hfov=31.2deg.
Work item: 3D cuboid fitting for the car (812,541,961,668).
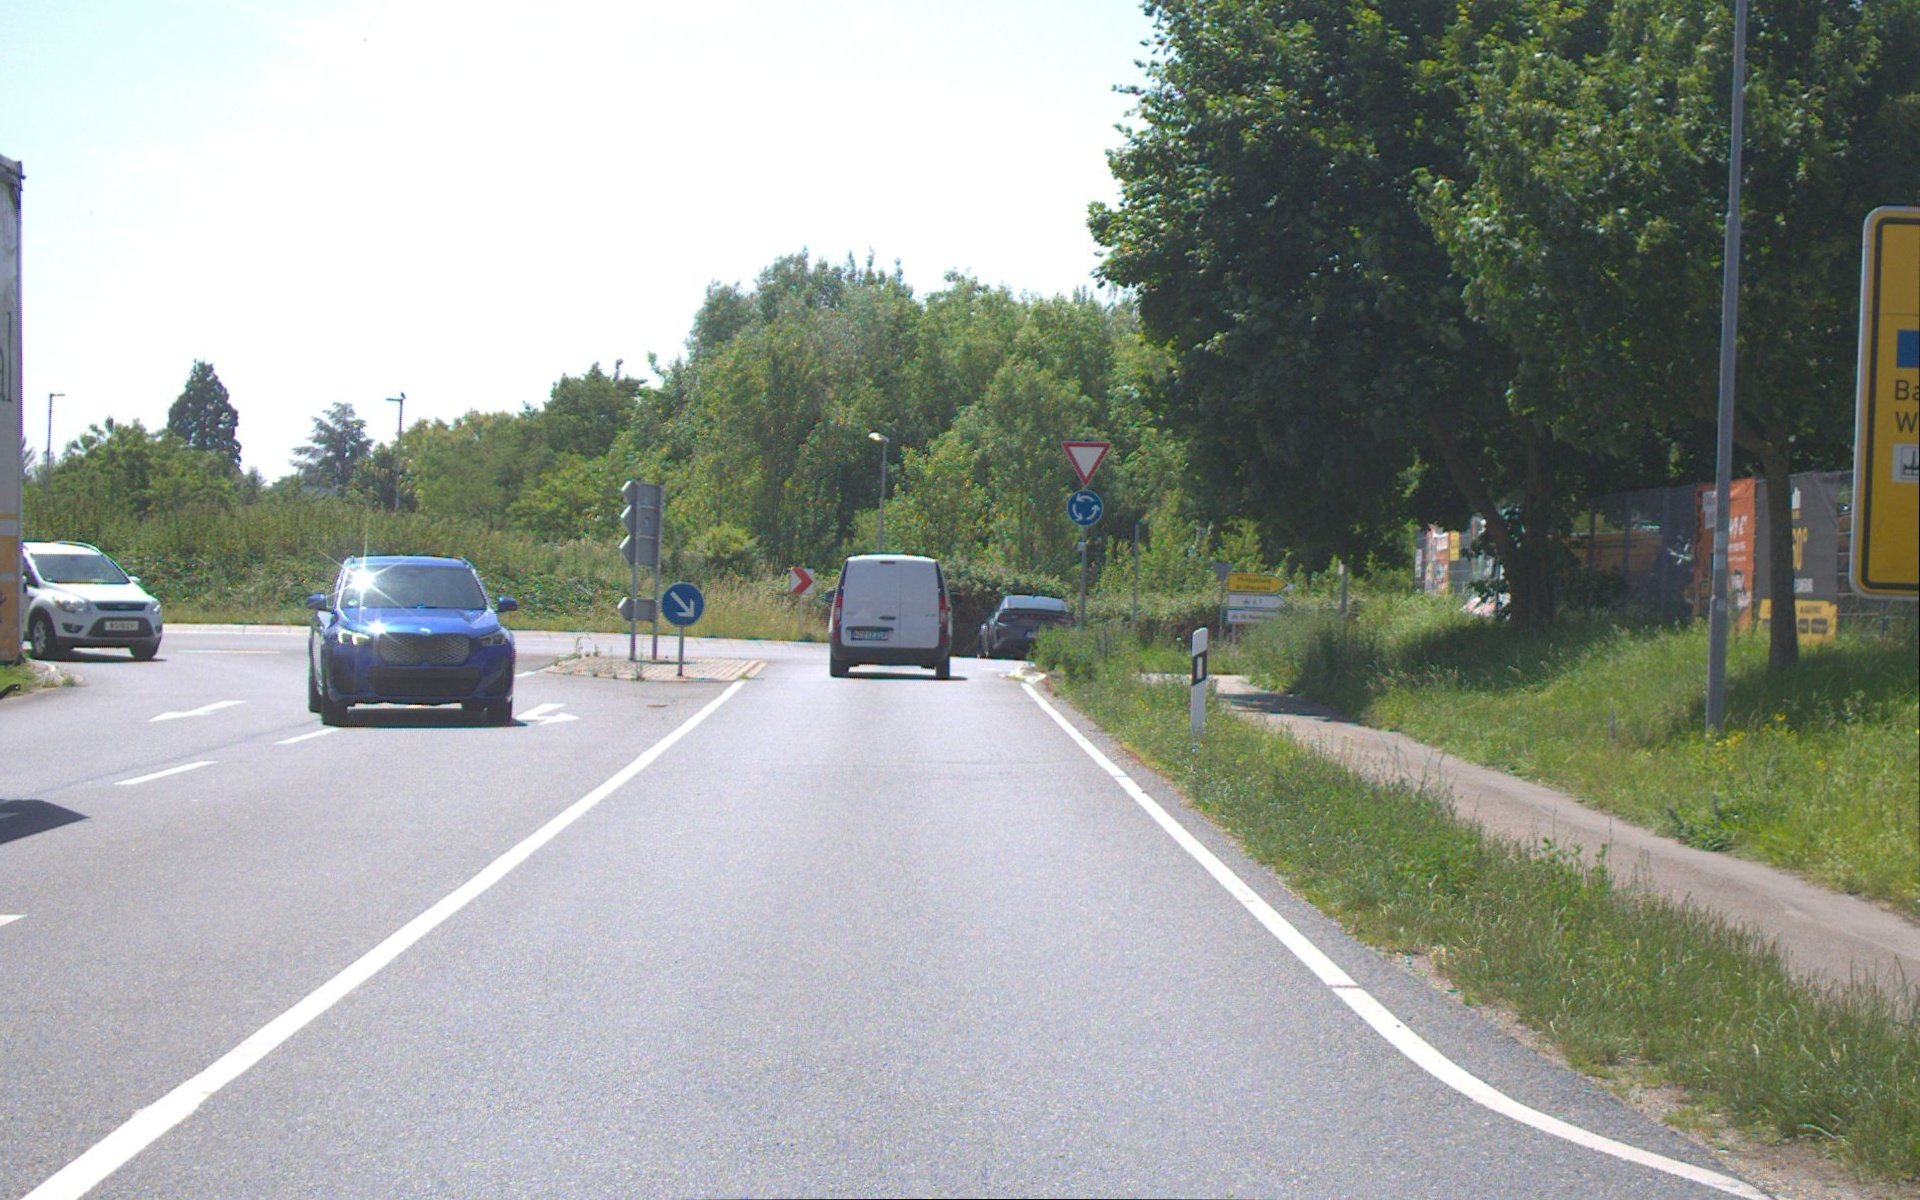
[{"bbox_3d":[-1.126,0.047,50.711,1.903,1.726,3.823,2,0,-5],"label":"car"}]

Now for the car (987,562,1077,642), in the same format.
[{"bbox_3d":[1.551,0.013,75.695,1.805,1.550,4.001,2,2,-1],"label":"car"}]

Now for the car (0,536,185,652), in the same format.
[{"bbox_3d":[-13.381,-0.111,51.839,1.901,1.653,4.000,1,0,-35],"label":"car"}]

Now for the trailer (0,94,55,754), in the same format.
[{"bbox_3d":[-7.087,-0.999,15.358,2.790,4.042,13.504,3,1,-2],"label":"trailer"}]

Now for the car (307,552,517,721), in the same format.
[{"bbox_3d":[-5.509,0.314,34.209,1.846,1.562,4.001,0,1,-12],"label":"car"}]
